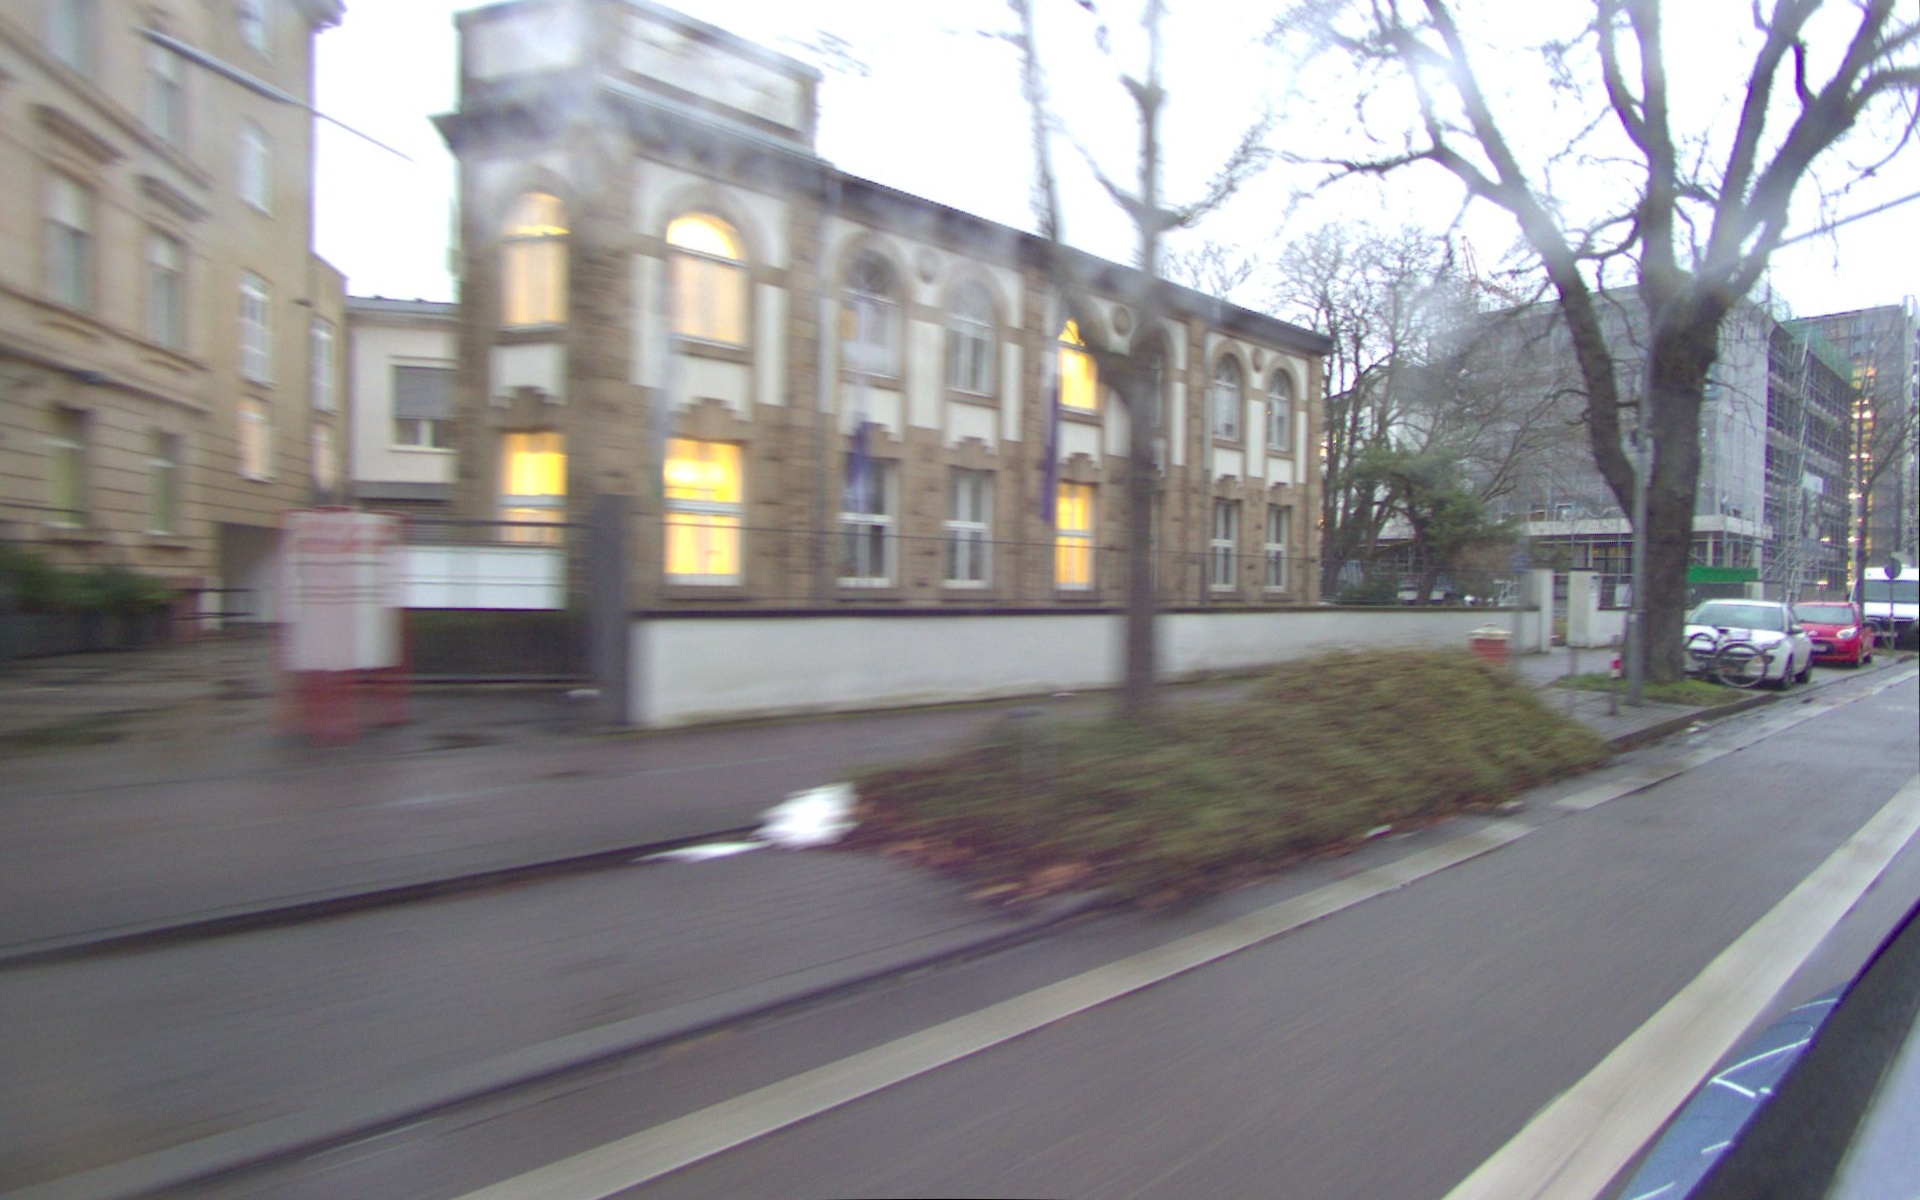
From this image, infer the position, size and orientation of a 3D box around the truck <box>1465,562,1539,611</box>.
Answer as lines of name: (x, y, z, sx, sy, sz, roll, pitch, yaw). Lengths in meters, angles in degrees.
truck: (31.330, -0.831, 58.398, 2.125, 2.619, 6.975, 3, 3, 42)

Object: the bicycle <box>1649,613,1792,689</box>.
bicycle: (12.235, 0.792, 16.330, 0.651, 1.084, 1.717, 1, 1, -40)

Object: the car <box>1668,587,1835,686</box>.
car: (14.075, 0.584, 17.937, 3.574, 1.538, 1.694, 1, 1, -42)

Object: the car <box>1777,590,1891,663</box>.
car: (20.438, 0.587, 23.627, 3.512, 1.542, 1.645, 1, 0, -43)

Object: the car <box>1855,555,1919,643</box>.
car: (29.416, -0.009, 31.251, 5.347, 2.518, 2.127, 1, 1, -43)
